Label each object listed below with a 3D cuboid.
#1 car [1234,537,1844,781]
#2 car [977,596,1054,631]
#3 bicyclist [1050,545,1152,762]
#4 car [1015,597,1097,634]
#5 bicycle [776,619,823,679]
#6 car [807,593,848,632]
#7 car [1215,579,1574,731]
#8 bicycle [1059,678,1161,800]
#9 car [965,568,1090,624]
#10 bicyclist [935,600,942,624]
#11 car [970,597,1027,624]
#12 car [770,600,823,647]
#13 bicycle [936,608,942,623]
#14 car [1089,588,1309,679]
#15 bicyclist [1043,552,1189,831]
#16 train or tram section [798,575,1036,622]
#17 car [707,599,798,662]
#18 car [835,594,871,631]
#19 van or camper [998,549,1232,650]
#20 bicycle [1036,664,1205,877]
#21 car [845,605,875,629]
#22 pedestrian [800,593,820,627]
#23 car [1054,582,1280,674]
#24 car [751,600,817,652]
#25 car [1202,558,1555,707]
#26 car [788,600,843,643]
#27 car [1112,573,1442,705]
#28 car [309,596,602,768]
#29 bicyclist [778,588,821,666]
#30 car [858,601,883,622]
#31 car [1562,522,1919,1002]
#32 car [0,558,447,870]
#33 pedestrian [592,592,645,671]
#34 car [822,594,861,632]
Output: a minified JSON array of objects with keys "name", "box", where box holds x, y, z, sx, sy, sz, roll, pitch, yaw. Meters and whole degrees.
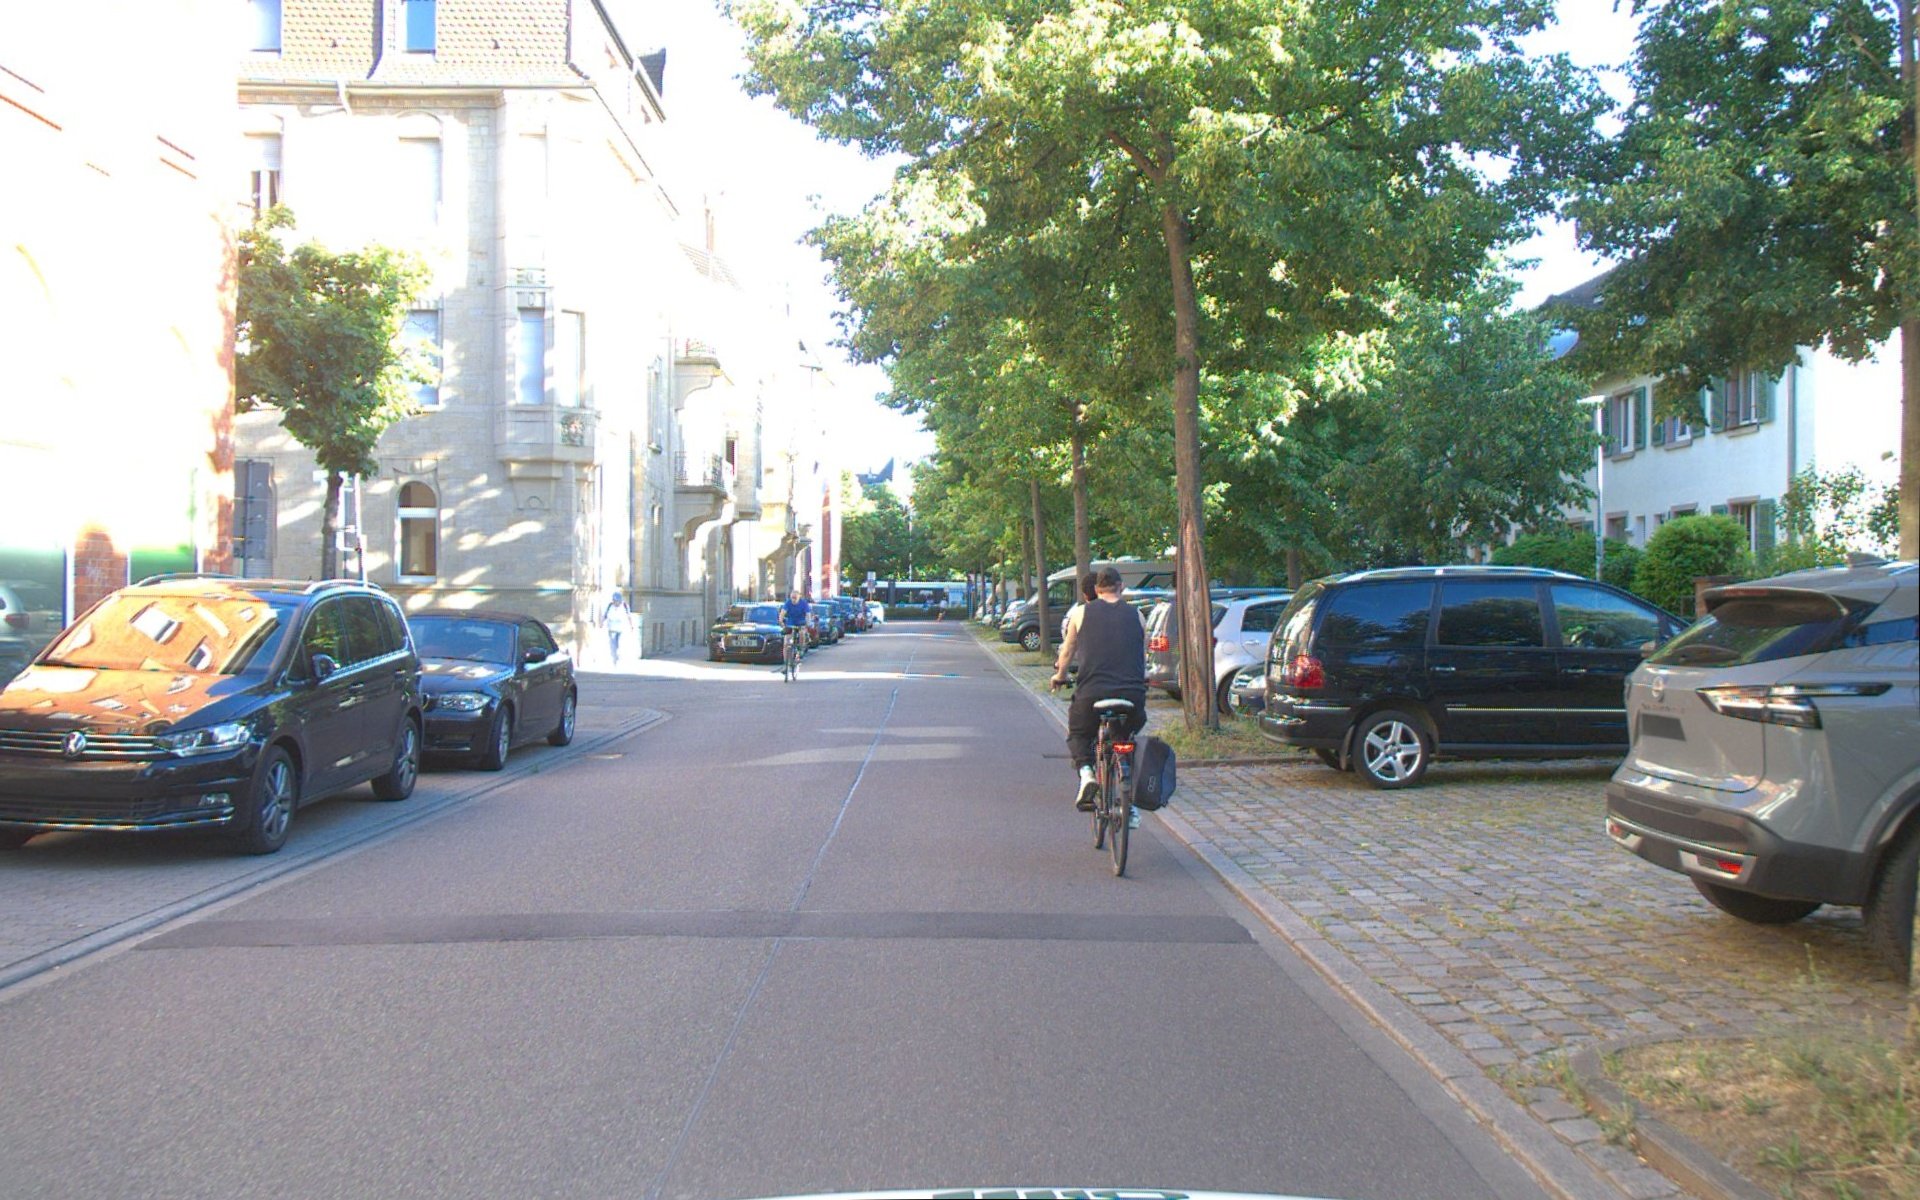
[{"name":"car","box":[4.765,0.469,14.125,4.487,1.706,1.907,-3,0,1]},{"name":"car","box":[2.977,0.721,89.116,4.001,1.678,1.640,-3,-1,-3]},{"name":"bicyclist","box":[1.115,0.415,13.285,0.675,1.655,0.998,2,0,-1]},{"name":"car","box":[4.364,0.726,75.805,3.695,1.628,1.691,0,-2,1]},{"name":"bicycle","box":[-3.121,0.943,32.303,0.742,1.127,1.906,-1,-1,-1]},{"name":"car","box":[-5.703,0.520,71.299,1.564,1.514,2.735,4,0,-2]},{"name":"car","box":[4.931,0.603,19.076,3.647,1.479,1.588,-3,0,-1]},{"name":"bicycle","box":[1.171,1.078,13.220,0.620,0.813,1.832,0,0,-1]},{"name":"car","box":[3.893,-0.216,96.490,7.005,3.030,2.462,-2,0,-4]},{"name":"bicyclist","box":[-1.573,0.924,123.345,0.476,1.775,0.655,2,-1,-1]},{"name":"car","box":[2.765,0.778,118.796,3.908,1.835,1.833,2,-1,-3]},{"name":"car","box":[-5.491,0.759,55.932,1.596,1.479,3.835,1,0,-3]},{"name":"bicycle","box":[-1.572,1.161,123.421,0.488,1.023,1.473,1,-2,-1]},{"name":"car","box":[4.593,0.633,32.179,3.985,1.502,1.694,-3,1,0]},{"name":"bicyclist","box":[0.919,0.533,9.937,0.715,1.575,0.884,2,-1,-2]},{"name":"train or tram section","box":[-3.987,-0.042,162.179,23.485,3.773,4.255,2,-1,-24]},{"name":"car","box":[-5.301,0.754,42.750,1.774,1.451,4.896,3,-1,-1]},{"name":"car","box":[-5.874,0.664,91.084,1.654,1.857,4.272,2,0,0]},{"name":"van or camper","box":[4.741,-0.013,51.581,7.000,2.693,2.464,-3,0,1]},{"name":"bicycle","box":[0.905,0.950,9.824,0.722,1.072,1.955,2,-1,-2]},{"name":"car","box":[-6.161,1.017,102.200,1.551,1.367,4.131,2,0,0]},{"name":"pedestrian","box":[-7.790,0.520,85.762,0.919,1.773,0.735,2,-1,0]},{"name":"car","box":[4.306,0.577,34.944,4.525,1.739,1.833,-2,0,0]},{"name":"car","box":[-5.225,0.768,49.475,1.662,1.479,4.025,0,-1,-2]},{"name":"car","box":[5.418,0.412,21.796,4.184,1.662,1.691,-3,0,2]},{"name":"car","box":[-5.383,0.770,62.057,1.641,1.455,4.550,2,0,0]},{"name":"car","box":[4.684,0.554,24.770,4.453,1.662,1.809,-3,0,-7]},{"name":"car","box":[-4.898,0.737,16.691,1.602,1.435,4.332,3,-1,-1]},{"name":"bicyclist","box":[-3.126,0.524,32.214,0.744,1.479,0.948,-1,-1,-1]},{"name":"car","box":[-6.493,0.842,119.887,1.551,1.399,4.131,2,0,0]},{"name":"car","box":[5.052,0.466,6.834,4.386,1.662,1.874,-3,0,-2]},{"name":"car","box":[-4.949,0.650,11.367,1.636,1.710,4.347,1,-1,-3]},{"name":"pedestrian","box":[-7.155,0.640,34.668,0.870,1.604,1.053,-1,0,-1]},{"name":"car","box":[-6.009,0.631,84.415,1.607,1.814,4.354,2,0,0]}]
